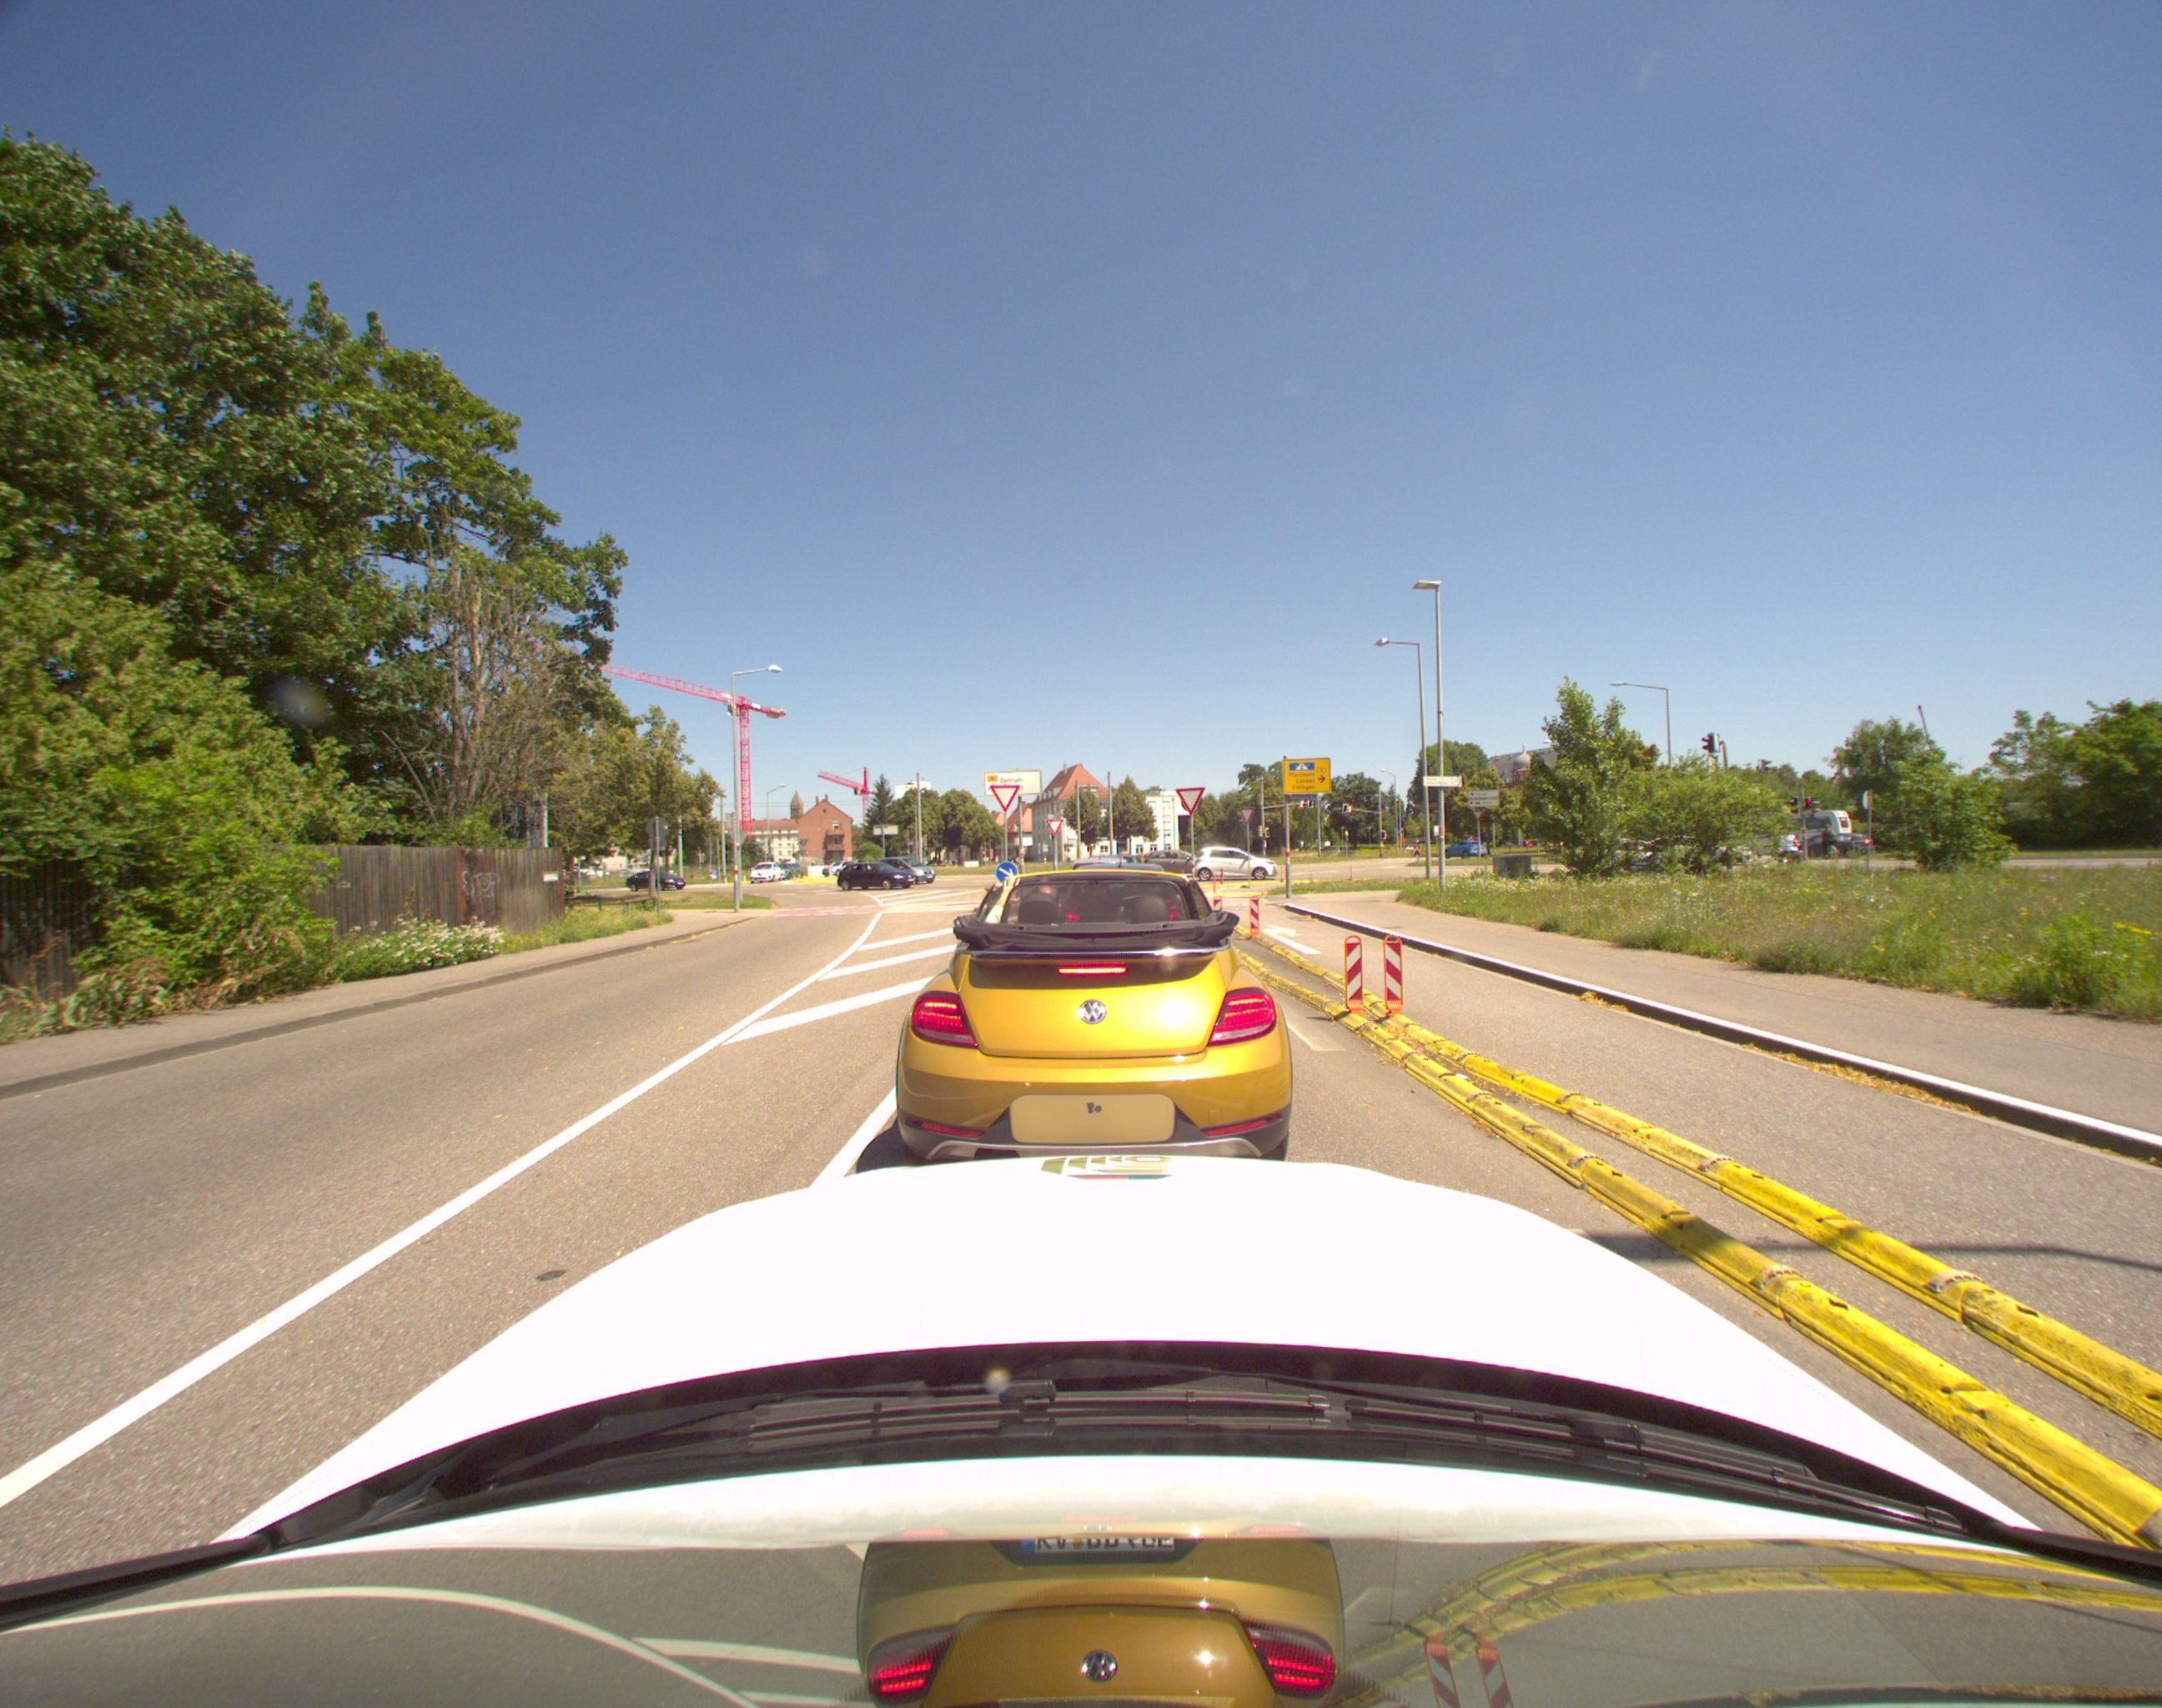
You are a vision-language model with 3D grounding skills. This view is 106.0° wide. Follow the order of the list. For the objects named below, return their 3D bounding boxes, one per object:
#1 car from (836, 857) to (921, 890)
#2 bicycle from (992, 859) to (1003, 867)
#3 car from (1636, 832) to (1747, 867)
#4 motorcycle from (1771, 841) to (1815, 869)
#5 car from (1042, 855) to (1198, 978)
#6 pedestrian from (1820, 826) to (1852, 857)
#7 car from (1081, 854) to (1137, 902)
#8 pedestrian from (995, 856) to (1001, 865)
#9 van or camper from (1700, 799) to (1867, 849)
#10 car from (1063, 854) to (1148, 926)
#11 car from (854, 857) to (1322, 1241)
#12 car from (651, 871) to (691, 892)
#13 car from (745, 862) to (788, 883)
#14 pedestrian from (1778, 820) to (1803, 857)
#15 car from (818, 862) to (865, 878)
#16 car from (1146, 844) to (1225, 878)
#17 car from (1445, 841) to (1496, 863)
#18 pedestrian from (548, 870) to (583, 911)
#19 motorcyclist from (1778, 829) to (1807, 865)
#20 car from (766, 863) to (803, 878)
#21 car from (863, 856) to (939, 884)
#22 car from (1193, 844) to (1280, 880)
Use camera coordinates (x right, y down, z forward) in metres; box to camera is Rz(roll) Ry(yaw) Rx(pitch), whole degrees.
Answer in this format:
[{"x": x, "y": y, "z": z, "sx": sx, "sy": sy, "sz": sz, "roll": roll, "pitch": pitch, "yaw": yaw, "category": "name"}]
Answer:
[{"x": -10.516, "y": 0.994, "z": 42.322, "sx": 3.966, "sy": 1.620, "sz": 1.745, "roll": -1, "pitch": 0, "yaw": 20, "category": "car"}, {"x": -11.809, "y": 1.304, "z": 115.282, "sx": 1.469, "sy": 1.071, "sz": 0.496, "roll": -1, "pitch": 0, "yaw": -17, "category": "bicycle"}, {"x": 29.301, "y": -0.203, "z": 39.225, "sx": 3.951, "sy": 1.585, "sz": 1.850, "roll": -1, "pitch": 0, "yaw": 24, "category": "car"}, {"x": 25.801, "y": 0.030, "z": 29.502, "sx": 1.712, "sy": 0.970, "sz": 0.625, "roll": -1, "pitch": 0, "yaw": -28, "category": "motorcycle"}, {"x": 0.537, "y": 0.757, "z": 11.784, "sx": 1.841, "sy": 1.442, "sz": 4.002, "roll": -1, "pitch": 0, "yaw": 2, "category": "car"}, {"x": 37.738, "y": -0.617, "z": 40.711, "sx": 0.789, "sy": 1.563, "sz": 0.823, "roll": -1, "pitch": 0, "yaw": 3, "category": "pedestrian"}, {"x": 0.937, "y": 0.755, "z": 27.601, "sx": 1.730, "sy": 1.477, "sz": 4.002, "roll": -1, "pitch": 0, "yaw": 2, "category": "car"}, {"x": -11.751, "y": 0.975, "z": 115.307, "sx": 0.677, "sy": 1.230, "sz": 0.496, "roll": -1, "pitch": -1, "yaw": -17, "category": "pedestrian"}, {"x": 43.369, "y": -1.755, "z": 50.562, "sx": 2.524, "sy": 2.693, "sz": 7.432, "roll": -1, "pitch": 0, "yaw": -34, "category": "van or camper"}, {"x": 0.579, "y": 0.748, "z": 18.802, "sx": 1.730, "sy": 1.442, "sz": 4.002, "roll": -1, "pitch": 0, "yaw": 2, "category": "car"}, {"x": 0.076, "y": 0.747, "z": 4.974, "sx": 1.746, "sy": 1.422, "sz": 3.778, "roll": -1, "pitch": 0, "yaw": 1, "category": "car"}, {"x": -29.863, "y": 1.960, "z": 59.278, "sx": 1.831, "sy": 1.447, "sz": 4.482, "roll": -1, "pitch": 0, "yaw": -37, "category": "car"}, {"x": -24.602, "y": 1.419, "z": 63.840, "sx": 1.749, "sy": 1.549, "sz": 4.002, "roll": -1, "pitch": 0, "yaw": 2, "category": "car"}, {"x": 36.778, "y": -0.809, "z": 42.235, "sx": 0.647, "sy": 1.870, "sz": 0.737, "roll": -1, "pitch": 0, "yaw": 3, "category": "pedestrian"}, {"x": -23.174, "y": 1.550, "z": 79.007, "sx": 1.690, "sy": 1.500, "sz": 4.247, "roll": -1, "pitch": 0, "yaw": 34, "category": "car"}, {"x": 5.601, "y": 0.380, "z": 43.545, "sx": 3.964, "sy": 1.496, "sz": 1.651, "roll": -5, "pitch": -1, "yaw": 8, "category": "car"}, {"x": 33.154, "y": -0.148, "z": 69.464, "sx": 1.994, "sy": 1.838, "sz": 3.986, "roll": -1, "pitch": 0, "yaw": -10, "category": "car"}, {"x": -20.425, "y": 1.443, "z": 32.297, "sx": 0.866, "sy": 1.563, "sz": 0.815, "roll": -1, "pitch": -1, "yaw": 24, "category": "pedestrian"}, {"x": 25.821, "y": -0.258, "z": 29.549, "sx": 0.616, "sy": 1.289, "sz": 0.576, "roll": -1, "pitch": -1, "yaw": -27, "category": "motorcyclist"}, {"x": -25.194, "y": 1.376, "z": 69.303, "sx": 1.700, "sy": 1.236, "sz": 3.788, "roll": -1, "pitch": 0, "yaw": 2, "category": "car"}, {"x": -10.359, "y": 0.919, "z": 46.843, "sx": 3.950, "sy": 1.496, "sz": 1.811, "roll": -1, "pitch": 0, "yaw": 26, "category": "car"}, {"x": 7.467, "y": 0.390, "z": 39.122, "sx": 3.973, "sy": 1.620, "sz": 1.686, "roll": -1, "pitch": 0, "yaw": 11, "category": "car"}]
